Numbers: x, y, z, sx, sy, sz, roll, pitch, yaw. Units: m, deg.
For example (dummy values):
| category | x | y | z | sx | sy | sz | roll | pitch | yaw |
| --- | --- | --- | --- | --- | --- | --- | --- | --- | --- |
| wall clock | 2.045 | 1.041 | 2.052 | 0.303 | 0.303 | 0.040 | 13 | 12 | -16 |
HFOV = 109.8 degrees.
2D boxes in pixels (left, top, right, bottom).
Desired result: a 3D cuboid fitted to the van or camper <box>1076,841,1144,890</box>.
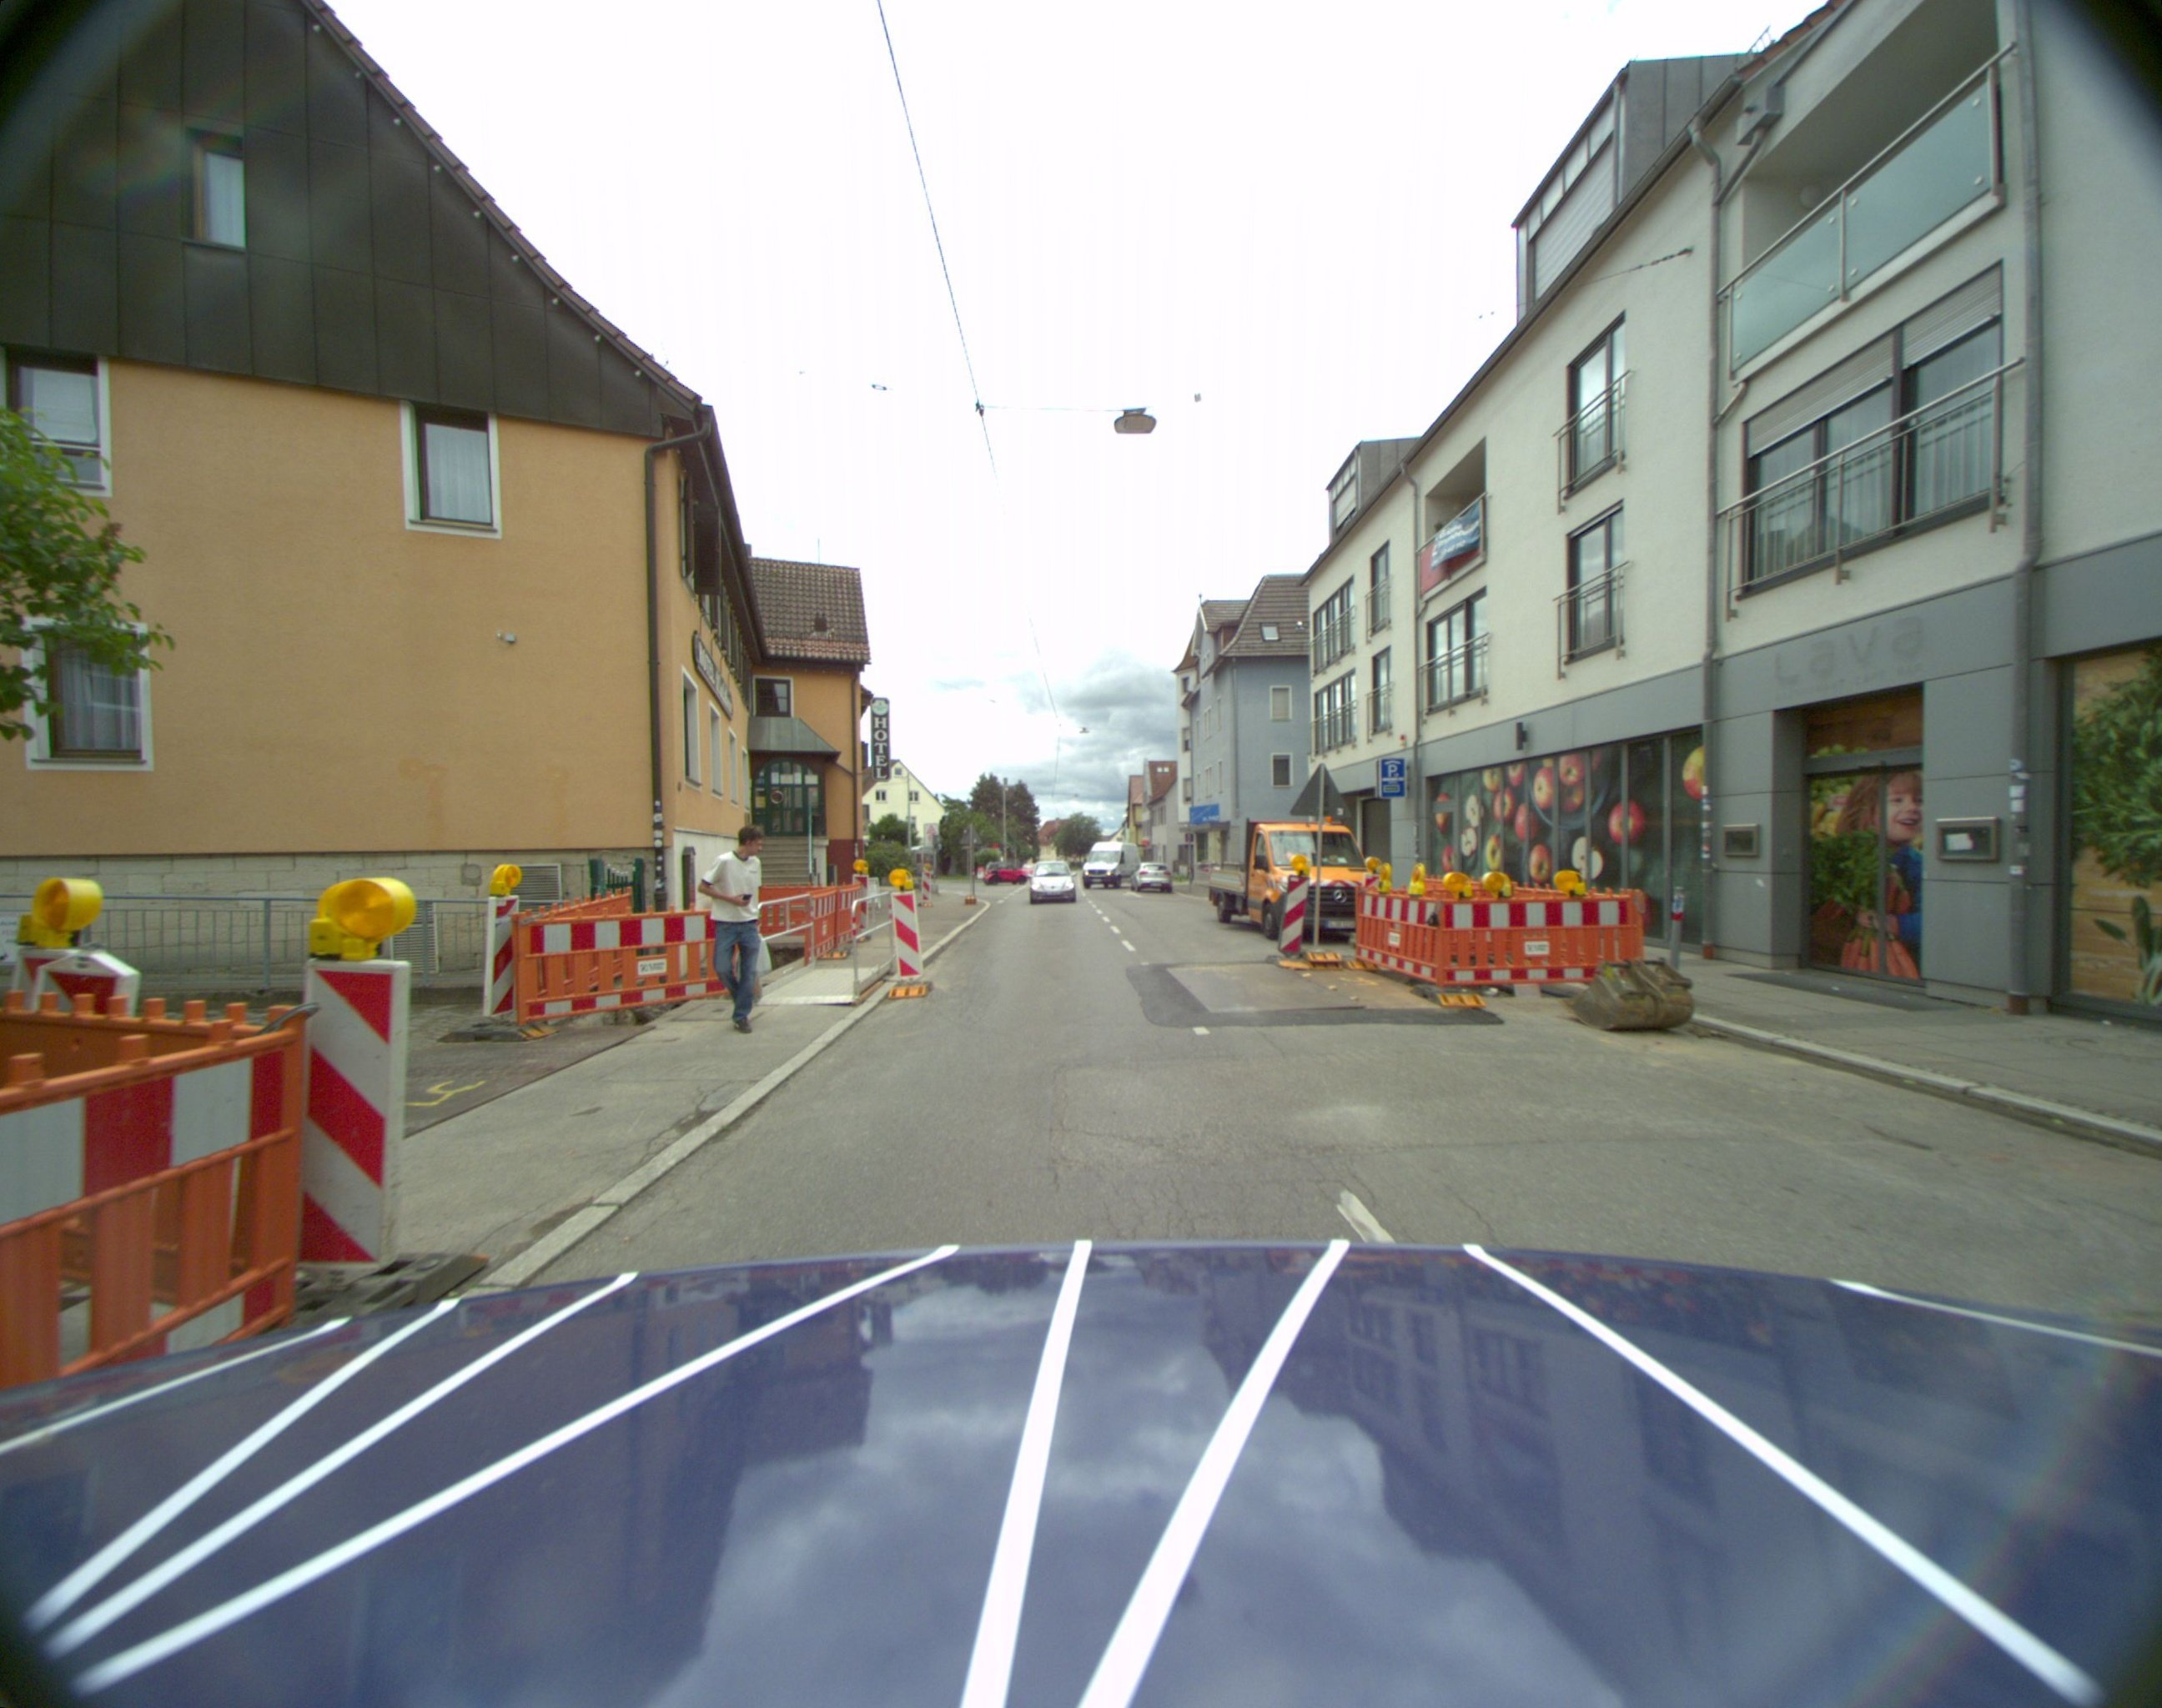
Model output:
| category | x | y | z | sx | sy | sz | roll | pitch | yaw |
| --- | --- | --- | --- | --- | --- | --- | --- | --- | --- |
| van or camper | 1.798 | 0.615 | 43.496 | 2.322 | 2.592 | 6.216 | -1 | 0 | 17 |

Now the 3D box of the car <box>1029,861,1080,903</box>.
| category | x | y | z | sx | sy | sz | roll | pitch | yaw |
| --- | --- | --- | --- | --- | --- | --- | --- | --- | --- |
| car | -0.975 | 1.041 | 29.804 | 1.858 | 1.547 | 4.352 | 0 | 0 | 0 |

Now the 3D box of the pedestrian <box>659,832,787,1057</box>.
| category | x | y | z | sx | sy | sz | roll | pitch | yaw |
| --- | --- | --- | --- | --- | --- | --- | --- | --- | --- |
| pedestrian | -3.266 | 0.784 | 7.010 | 0.800 | 1.938 | 0.836 | 0 | 0 | -4 |

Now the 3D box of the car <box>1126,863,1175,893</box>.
| category | x | y | z | sx | sy | sz | roll | pitch | yaw |
| --- | --- | --- | --- | --- | --- | --- | --- | --- | --- |
| car | 3.428 | 1.141 | 38.011 | 1.803 | 1.403 | 3.999 | 0 | 0 | -5 |

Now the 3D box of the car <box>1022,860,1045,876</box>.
| category | x | y | z | sx | sy | sz | roll | pitch | yaw |
| --- | --- | --- | --- | --- | --- | --- | --- | --- | --- |
| car | -4.376 | 1.277 | 70.463 | 1.719 | 1.472 | 4.000 | -1 | 0 | 1 |

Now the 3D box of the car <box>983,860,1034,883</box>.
| category | x | y | z | sx | sy | sz | roll | pitch | yaw |
| --- | --- | --- | --- | --- | --- | --- | --- | --- | --- |
| car | -4.883 | 1.170 | 51.015 | 2.943 | 1.511 | 1.817 | 0 | 0 | -23 |

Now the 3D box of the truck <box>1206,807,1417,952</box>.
| category | x | y | z | sx | sy | sz | roll | pitch | yaw |
| --- | --- | --- | --- | --- | --- | --- | --- | --- | --- |
| truck | 4.441 | 0.453 | 16.087 | 2.420 | 2.451 | 6.307 | 0 | 0 | -1 |
